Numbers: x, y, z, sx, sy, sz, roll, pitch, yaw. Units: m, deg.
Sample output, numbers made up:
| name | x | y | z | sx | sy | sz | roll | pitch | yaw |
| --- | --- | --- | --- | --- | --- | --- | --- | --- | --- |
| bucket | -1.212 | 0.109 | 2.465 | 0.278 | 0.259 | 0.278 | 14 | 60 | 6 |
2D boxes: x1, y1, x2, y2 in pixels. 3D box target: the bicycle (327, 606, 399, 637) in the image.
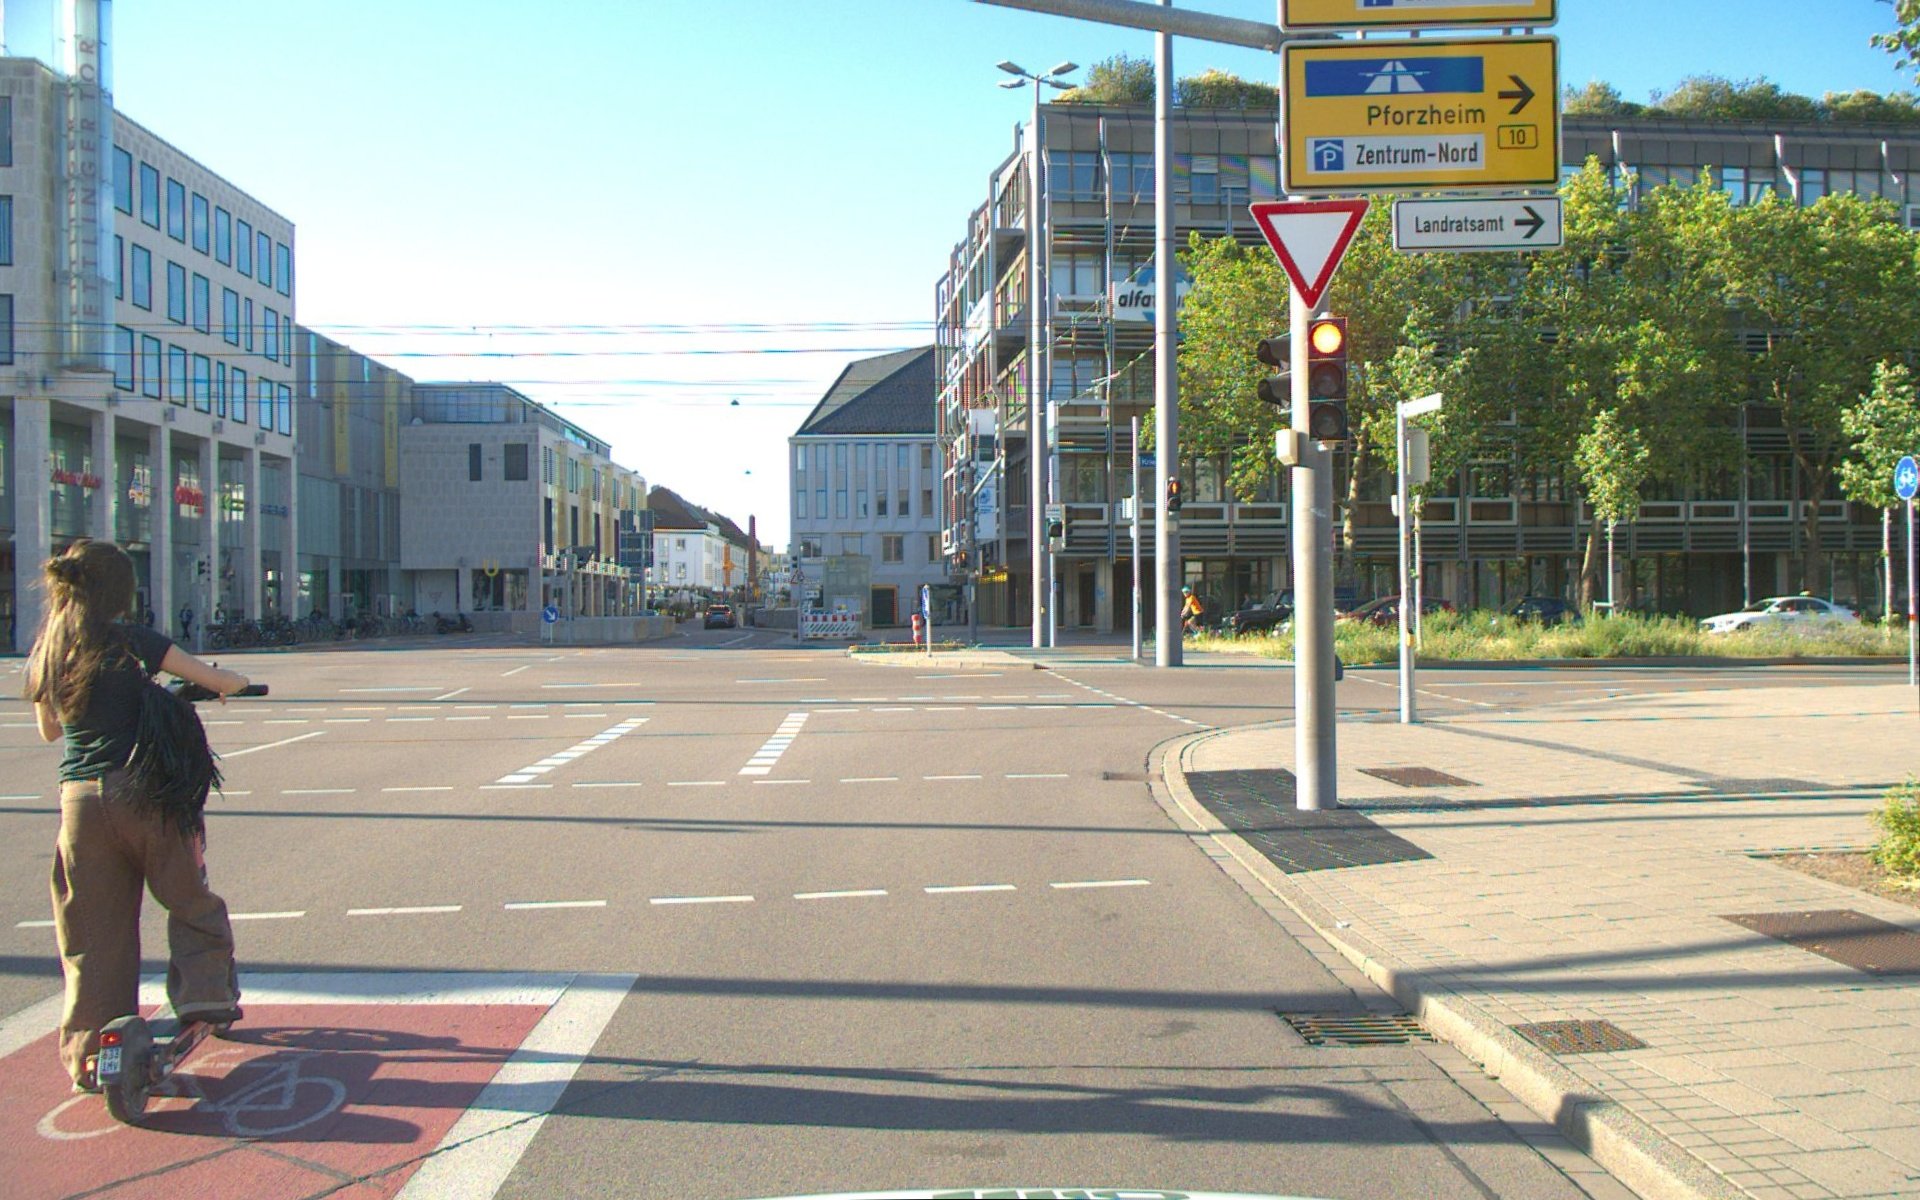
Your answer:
| name | x | y | z | sx | sy | sz | roll | pitch | yaw |
| --- | --- | --- | --- | --- | --- | --- | --- | --- | --- |
| bicycle | -31.074 | 1.124 | 86.126 | 3.430 | 1.554 | 0.984 | -1 | 0 | -12 |

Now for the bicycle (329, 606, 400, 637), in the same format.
| name | x | y | z | sx | sy | sz | roll | pitch | yaw |
| --- | --- | --- | --- | --- | --- | --- | --- | --- | --- |
| bicycle | -31.391 | 1.112 | 87.243 | 3.430 | 1.554 | 0.984 | -1 | 0 | -12 |

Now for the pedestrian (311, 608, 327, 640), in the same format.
| name | x | y | z | sx | sy | sz | roll | pitch | yaw |
| --- | --- | --- | --- | --- | --- | --- | --- | --- | --- |
| pedestrian | -33.576 | 1.246 | 86.596 | 0.641 | 1.671 | 0.693 | -1 | 0 | -9 |

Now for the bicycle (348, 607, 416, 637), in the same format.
| name | x | y | z | sx | sy | sz | roll | pitch | yaw |
| --- | --- | --- | --- | --- | --- | --- | --- | --- | --- |
| bicycle | -31.949 | 1.202 | 91.423 | 3.430 | 1.554 | 0.984 | -1 | 0 | -12 |

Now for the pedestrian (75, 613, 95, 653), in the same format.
| name | x | y | z | sx | sy | sz | roll | pitch | yaw |
| --- | --- | --- | --- | --- | --- | --- | --- | --- | --- |
| pedestrian | -35.281 | 1.327 | 66.687 | 0.472 | 1.613 | 0.598 | -1 | 0 | -5 |

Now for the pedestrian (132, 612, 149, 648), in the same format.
| name | x | y | z | sx | sy | sz | roll | pitch | yaw |
| --- | --- | --- | --- | --- | --- | --- | --- | --- | --- |
| pedestrian | -34.817 | 1.265 | 70.294 | 0.472 | 1.537 | 0.513 | -1 | 0 | -5 |

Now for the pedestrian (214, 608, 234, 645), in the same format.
| name | x | y | z | sx | sy | sz | roll | pitch | yaw |
| --- | --- | --- | --- | --- | --- | --- | --- | --- | --- |
| pedestrian | -33.186 | 1.183 | 74.572 | 0.776 | 1.671 | 0.688 | -1 | 0 | -30 |

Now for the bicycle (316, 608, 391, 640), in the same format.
| name | x | y | z | sx | sy | sz | roll | pitch | yaw |
| --- | --- | --- | --- | --- | --- | --- | --- | --- | --- |
| bicycle | -30.886 | 1.216 | 84.265 | 3.430 | 1.554 | 0.984 | -1 | 0 | -12 |

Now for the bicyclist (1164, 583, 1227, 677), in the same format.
| name | x | y | z | sx | sy | sz | roll | pitch | yaw |
| --- | --- | --- | --- | --- | --- | --- | --- | --- | --- |
| bicyclist | 6.719 | 0.836 | 47.224 | 1.539 | 2.625 | 0.930 | -1 | 0 | -10 |

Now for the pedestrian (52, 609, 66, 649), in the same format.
| name | x | y | z | sx | sy | sz | roll | pitch | yaw |
| --- | --- | --- | --- | --- | --- | --- | --- | --- | --- |
| pedestrian | -36.408 | 1.169 | 66.846 | 0.379 | 1.613 | 0.367 | -1 | 0 | -6 |

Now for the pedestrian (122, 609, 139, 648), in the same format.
| name | x | y | z | sx | sy | sz | roll | pitch | yaw |
| --- | --- | --- | --- | --- | --- | --- | --- | --- | --- |
| pedestrian | -34.930 | 1.202 | 69.670 | 0.472 | 1.613 | 0.513 | -1 | 0 | -5 |

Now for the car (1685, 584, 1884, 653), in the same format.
| name | x | y | z | sx | sy | sz | roll | pitch | yaw |
| --- | --- | --- | --- | --- | --- | --- | --- | --- | --- |
| car | 26.173 | 0.583 | 52.578 | 5.332 | 2.049 | 2.096 | 1 | 0 | -3 |

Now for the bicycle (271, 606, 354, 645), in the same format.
| name | x | y | z | sx | sy | sz | roll | pitch | yaw |
| --- | --- | --- | --- | --- | --- | --- | --- | --- | --- |
| bicycle | -30.040 | 1.182 | 76.780 | 3.430 | 1.726 | 0.984 | -1 | 0 | -12 |

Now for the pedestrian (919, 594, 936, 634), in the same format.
| name | x | y | z | sx | sy | sz | roll | pitch | yaw |
| --- | --- | --- | --- | --- | --- | --- | --- | --- | --- |
| pedestrian | -1.368 | 0.580 | 69.537 | 0.650 | 1.687 | 0.755 | -1 | 0 | -4 |

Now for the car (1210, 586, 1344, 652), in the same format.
| name | x | y | z | sx | sy | sz | roll | pitch | yaw |
| --- | --- | --- | --- | --- | --- | --- | --- | --- | --- |
| car | 10.305 | 0.602 | 53.921 | 3.908 | 2.049 | 1.999 | 1 | 0 | -3 |

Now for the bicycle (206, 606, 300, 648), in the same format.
| name | x | y | z | sx | sy | sz | roll | pitch | yaw |
| --- | --- | --- | --- | --- | --- | --- | --- | --- | --- |
| bicycle | -29.553 | 1.120 | 69.220 | 3.427 | 1.726 | 1.114 | -1 | 0 | -10 |

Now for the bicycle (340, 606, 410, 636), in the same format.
| name | x | y | z | sx | sy | sz | roll | pitch | yaw |
| --- | --- | --- | --- | --- | --- | --- | --- | --- | --- |
| bicycle | -31.482 | 1.142 | 89.017 | 3.430 | 1.554 | 0.984 | -1 | 0 | -12 |

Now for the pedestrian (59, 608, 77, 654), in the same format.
| name | x | y | z | sx | sy | sz | roll | pitch | yaw |
| --- | --- | --- | --- | --- | --- | --- | --- | --- | --- |
| pedestrian | -32.609 | 1.115 | 60.459 | 0.533 | 1.671 | 0.546 | -1 | 0 | -24 |

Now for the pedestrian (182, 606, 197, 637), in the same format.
| name | x | y | z | sx | sy | sz | roll | pitch | yaw |
| --- | --- | --- | --- | --- | --- | --- | --- | --- | --- |
| pedestrian | -36.574 | 1.010 | 78.488 | 0.629 | 1.460 | 0.472 | -1 | 0 | -23 |

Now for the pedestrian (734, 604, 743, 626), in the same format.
| name | x | y | z | sx | sy | sz | roll | pitch | yaw |
| --- | --- | --- | --- | --- | --- | --- | --- | --- | --- |
| pedestrian | -14.468 | 0.956 | 108.021 | 0.598 | 1.436 | 0.569 | -1 | 0 | -7 |

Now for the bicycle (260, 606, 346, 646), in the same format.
| name | x | y | z | sx | sy | sz | roll | pitch | yaw |
| --- | --- | --- | --- | --- | --- | --- | --- | --- | --- |
| bicycle | -29.574 | 1.172 | 74.492 | 3.430 | 1.726 | 0.984 | -1 | 0 | -12 |

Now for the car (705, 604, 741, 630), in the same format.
| name | x | y | z | sx | sy | sz | roll | pitch | yaw |
| --- | --- | --- | --- | --- | --- | --- | --- | --- | --- |
| car | -15.500 | 1.103 | 108.163 | 2.157 | 1.635 | 4.320 | -1 | 0 | -6 |

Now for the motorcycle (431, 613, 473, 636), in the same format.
| name | x | y | z | sx | sy | sz | roll | pitch | yaw |
| --- | --- | --- | --- | --- | --- | --- | --- | --- | --- |
| motorcycle | -29.957 | 1.440 | 97.593 | 2.230 | 1.341 | 0.719 | -1 | 0 | -6 |

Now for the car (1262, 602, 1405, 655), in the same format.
| name | x | y | z | sx | sy | sz | roll | pitch | yaw |
| --- | --- | --- | --- | --- | --- | --- | --- | --- | --- |
| car | 11.440 | 0.868 | 50.817 | 3.908 | 1.534 | 1.867 | 1 | 0 | -4 |

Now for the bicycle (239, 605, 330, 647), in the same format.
| name | x | y | z | sx | sy | sz | roll | pitch | yaw |
| --- | --- | --- | --- | --- | --- | --- | --- | --- | --- |
| bicycle | -28.868 | 1.091 | 70.711 | 3.427 | 1.726 | 1.114 | -1 | 0 | -10 |

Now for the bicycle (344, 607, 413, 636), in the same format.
| name | x | y | z | sx | sy | sz | roll | pitch | yaw |
| --- | --- | --- | --- | --- | --- | --- | --- | --- | --- |
| bicycle | -31.785 | 1.172 | 90.399 | 3.430 | 1.554 | 0.984 | -1 | 0 | -12 |

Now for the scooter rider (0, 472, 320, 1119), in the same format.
| name | x | y | z | sx | sy | sz | roll | pitch | yaw |
| --- | --- | --- | --- | --- | --- | --- | --- | --- | --- |
| scooter rider | -2.460 | 0.545 | 5.031 | 0.713 | 1.806 | 0.811 | 0 | 0 | -1 |

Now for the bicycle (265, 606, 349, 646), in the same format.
| name | x | y | z | sx | sy | sz | roll | pitch | yaw |
| --- | --- | --- | --- | --- | --- | --- | --- | --- | --- |
| bicycle | -29.799 | 1.181 | 75.580 | 3.430 | 1.726 | 0.984 | -1 | 0 | -12 |

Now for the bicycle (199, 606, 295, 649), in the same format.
| name | x | y | z | sx | sy | sz | roll | pitch | yaw |
| --- | --- | --- | --- | --- | --- | --- | --- | --- | --- |
| bicycle | -29.323 | 1.116 | 68.031 | 3.427 | 1.726 | 1.114 | -1 | 0 | -10 |

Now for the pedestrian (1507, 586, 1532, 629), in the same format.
| name | x | y | z | sx | sy | sz | roll | pitch | yaw |
| --- | --- | --- | --- | --- | --- | --- | --- | --- | --- |
| pedestrian | 22.360 | 0.288 | 66.087 | 0.651 | 1.687 | 0.740 | -1 | 0 | -8 |

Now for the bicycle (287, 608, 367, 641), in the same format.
| name | x | y | z | sx | sy | sz | roll | pitch | yaw |
| --- | --- | --- | --- | --- | --- | --- | --- | --- | --- |
| bicycle | -30.543 | 1.175 | 79.855 | 3.430 | 1.554 | 0.984 | -1 | 0 | -12 |

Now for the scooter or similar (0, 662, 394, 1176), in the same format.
| name | x | y | z | sx | sy | sz | roll | pitch | yaw |
| --- | --- | --- | --- | --- | --- | --- | --- | --- | --- |
| scooter or similar | -2.343 | 0.832 | 4.993 | 0.713 | 1.223 | 1.664 | 0 | 0 | -1 |

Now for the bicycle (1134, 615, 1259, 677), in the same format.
| name | x | y | z | sx | sy | sz | roll | pitch | yaw |
| --- | --- | --- | --- | --- | --- | --- | --- | --- | --- |
| bicycle | 6.749 | 1.305 | 47.224 | 3.427 | 1.688 | 0.929 | -1 | 0 | -10 |

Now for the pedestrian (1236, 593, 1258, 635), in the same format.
| name | x | y | z | sx | sy | sz | roll | pitch | yaw |
| --- | --- | --- | --- | --- | --- | --- | --- | --- | --- |
| pedestrian | 11.575 | 0.561 | 66.735 | 0.715 | 1.687 | 0.649 | -1 | 0 | -8 |

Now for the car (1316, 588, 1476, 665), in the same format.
| name | x | y | z | sx | sy | sz | roll | pitch | yaw |
| --- | --- | --- | --- | --- | --- | --- | --- | --- | --- |
| car | 12.232 | 0.737 | 46.580 | 3.908 | 2.049 | 1.999 | 1 | 0 | -3 |

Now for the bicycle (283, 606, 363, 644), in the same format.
| name | x | y | z | sx | sy | sz | roll | pitch | yaw |
| --- | --- | --- | --- | --- | --- | --- | --- | --- | --- |
| bicycle | -30.338 | 1.191 | 78.865 | 3.430 | 1.726 | 0.984 | -1 | 0 | -12 |

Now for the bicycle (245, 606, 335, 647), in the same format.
| name | x | y | z | sx | sy | sz | roll | pitch | yaw |
| --- | --- | --- | --- | --- | --- | --- | --- | --- | --- |
| bicycle | -29.099 | 1.127 | 71.923 | 3.427 | 1.726 | 1.114 | -1 | 0 | -10 |

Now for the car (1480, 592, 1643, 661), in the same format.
| name | x | y | z | sx | sy | sz | roll | pitch | yaw |
| --- | --- | --- | --- | --- | --- | --- | --- | --- | --- |
| car | 18.828 | 0.825 | 51.882 | 4.359 | 2.049 | 1.998 | 1 | 0 | -6 |
